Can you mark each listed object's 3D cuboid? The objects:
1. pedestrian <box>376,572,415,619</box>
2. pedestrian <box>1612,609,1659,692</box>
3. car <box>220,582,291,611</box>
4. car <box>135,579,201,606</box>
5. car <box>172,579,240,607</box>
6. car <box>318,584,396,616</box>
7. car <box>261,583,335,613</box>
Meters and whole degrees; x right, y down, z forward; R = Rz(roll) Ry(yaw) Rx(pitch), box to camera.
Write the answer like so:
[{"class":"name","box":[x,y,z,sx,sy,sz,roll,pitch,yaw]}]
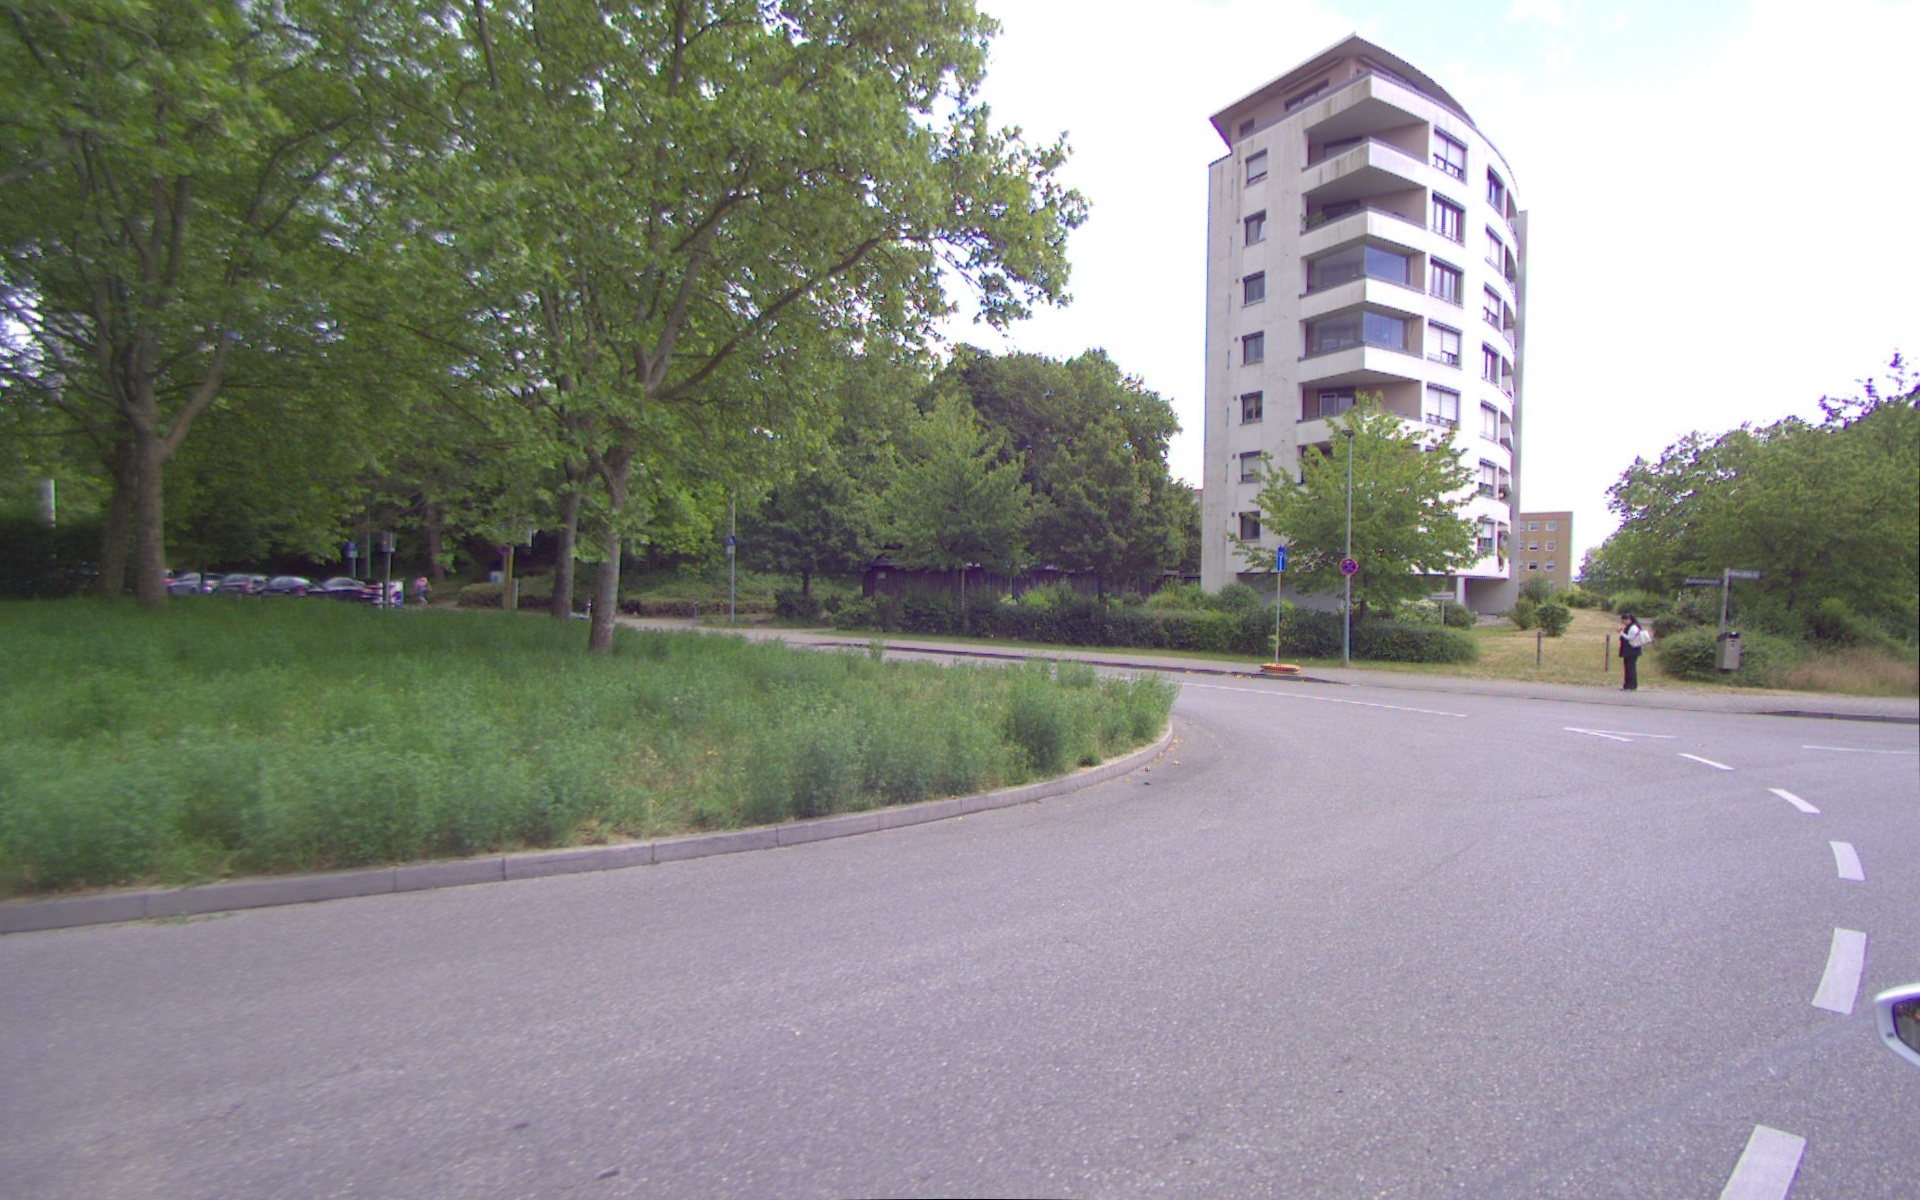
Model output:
[{"class":"pedestrian","box":[-24.194,-0.184,43.048,0.967,1.976,1.084,2,1,21]},{"class":"pedestrian","box":[14.690,1.080,21.867,0.809,1.746,0.775,1,1,33]},{"class":"car","box":[-34.761,-0.175,49.543,3.252,1.339,1.598,2,1,29]},{"class":"car","box":[-42.267,-0.421,53.617,3.252,1.339,1.598,2,1,29]},{"class":"car","box":[-38.800,-0.355,51.680,3.252,1.339,1.598,2,1,29]},{"class":"car","box":[-27.031,-0.005,45.023,3.252,1.339,1.598,2,1,29]},{"class":"car","box":[-31.354,-0.101,47.561,3.252,1.339,1.598,2,1,29]}]
